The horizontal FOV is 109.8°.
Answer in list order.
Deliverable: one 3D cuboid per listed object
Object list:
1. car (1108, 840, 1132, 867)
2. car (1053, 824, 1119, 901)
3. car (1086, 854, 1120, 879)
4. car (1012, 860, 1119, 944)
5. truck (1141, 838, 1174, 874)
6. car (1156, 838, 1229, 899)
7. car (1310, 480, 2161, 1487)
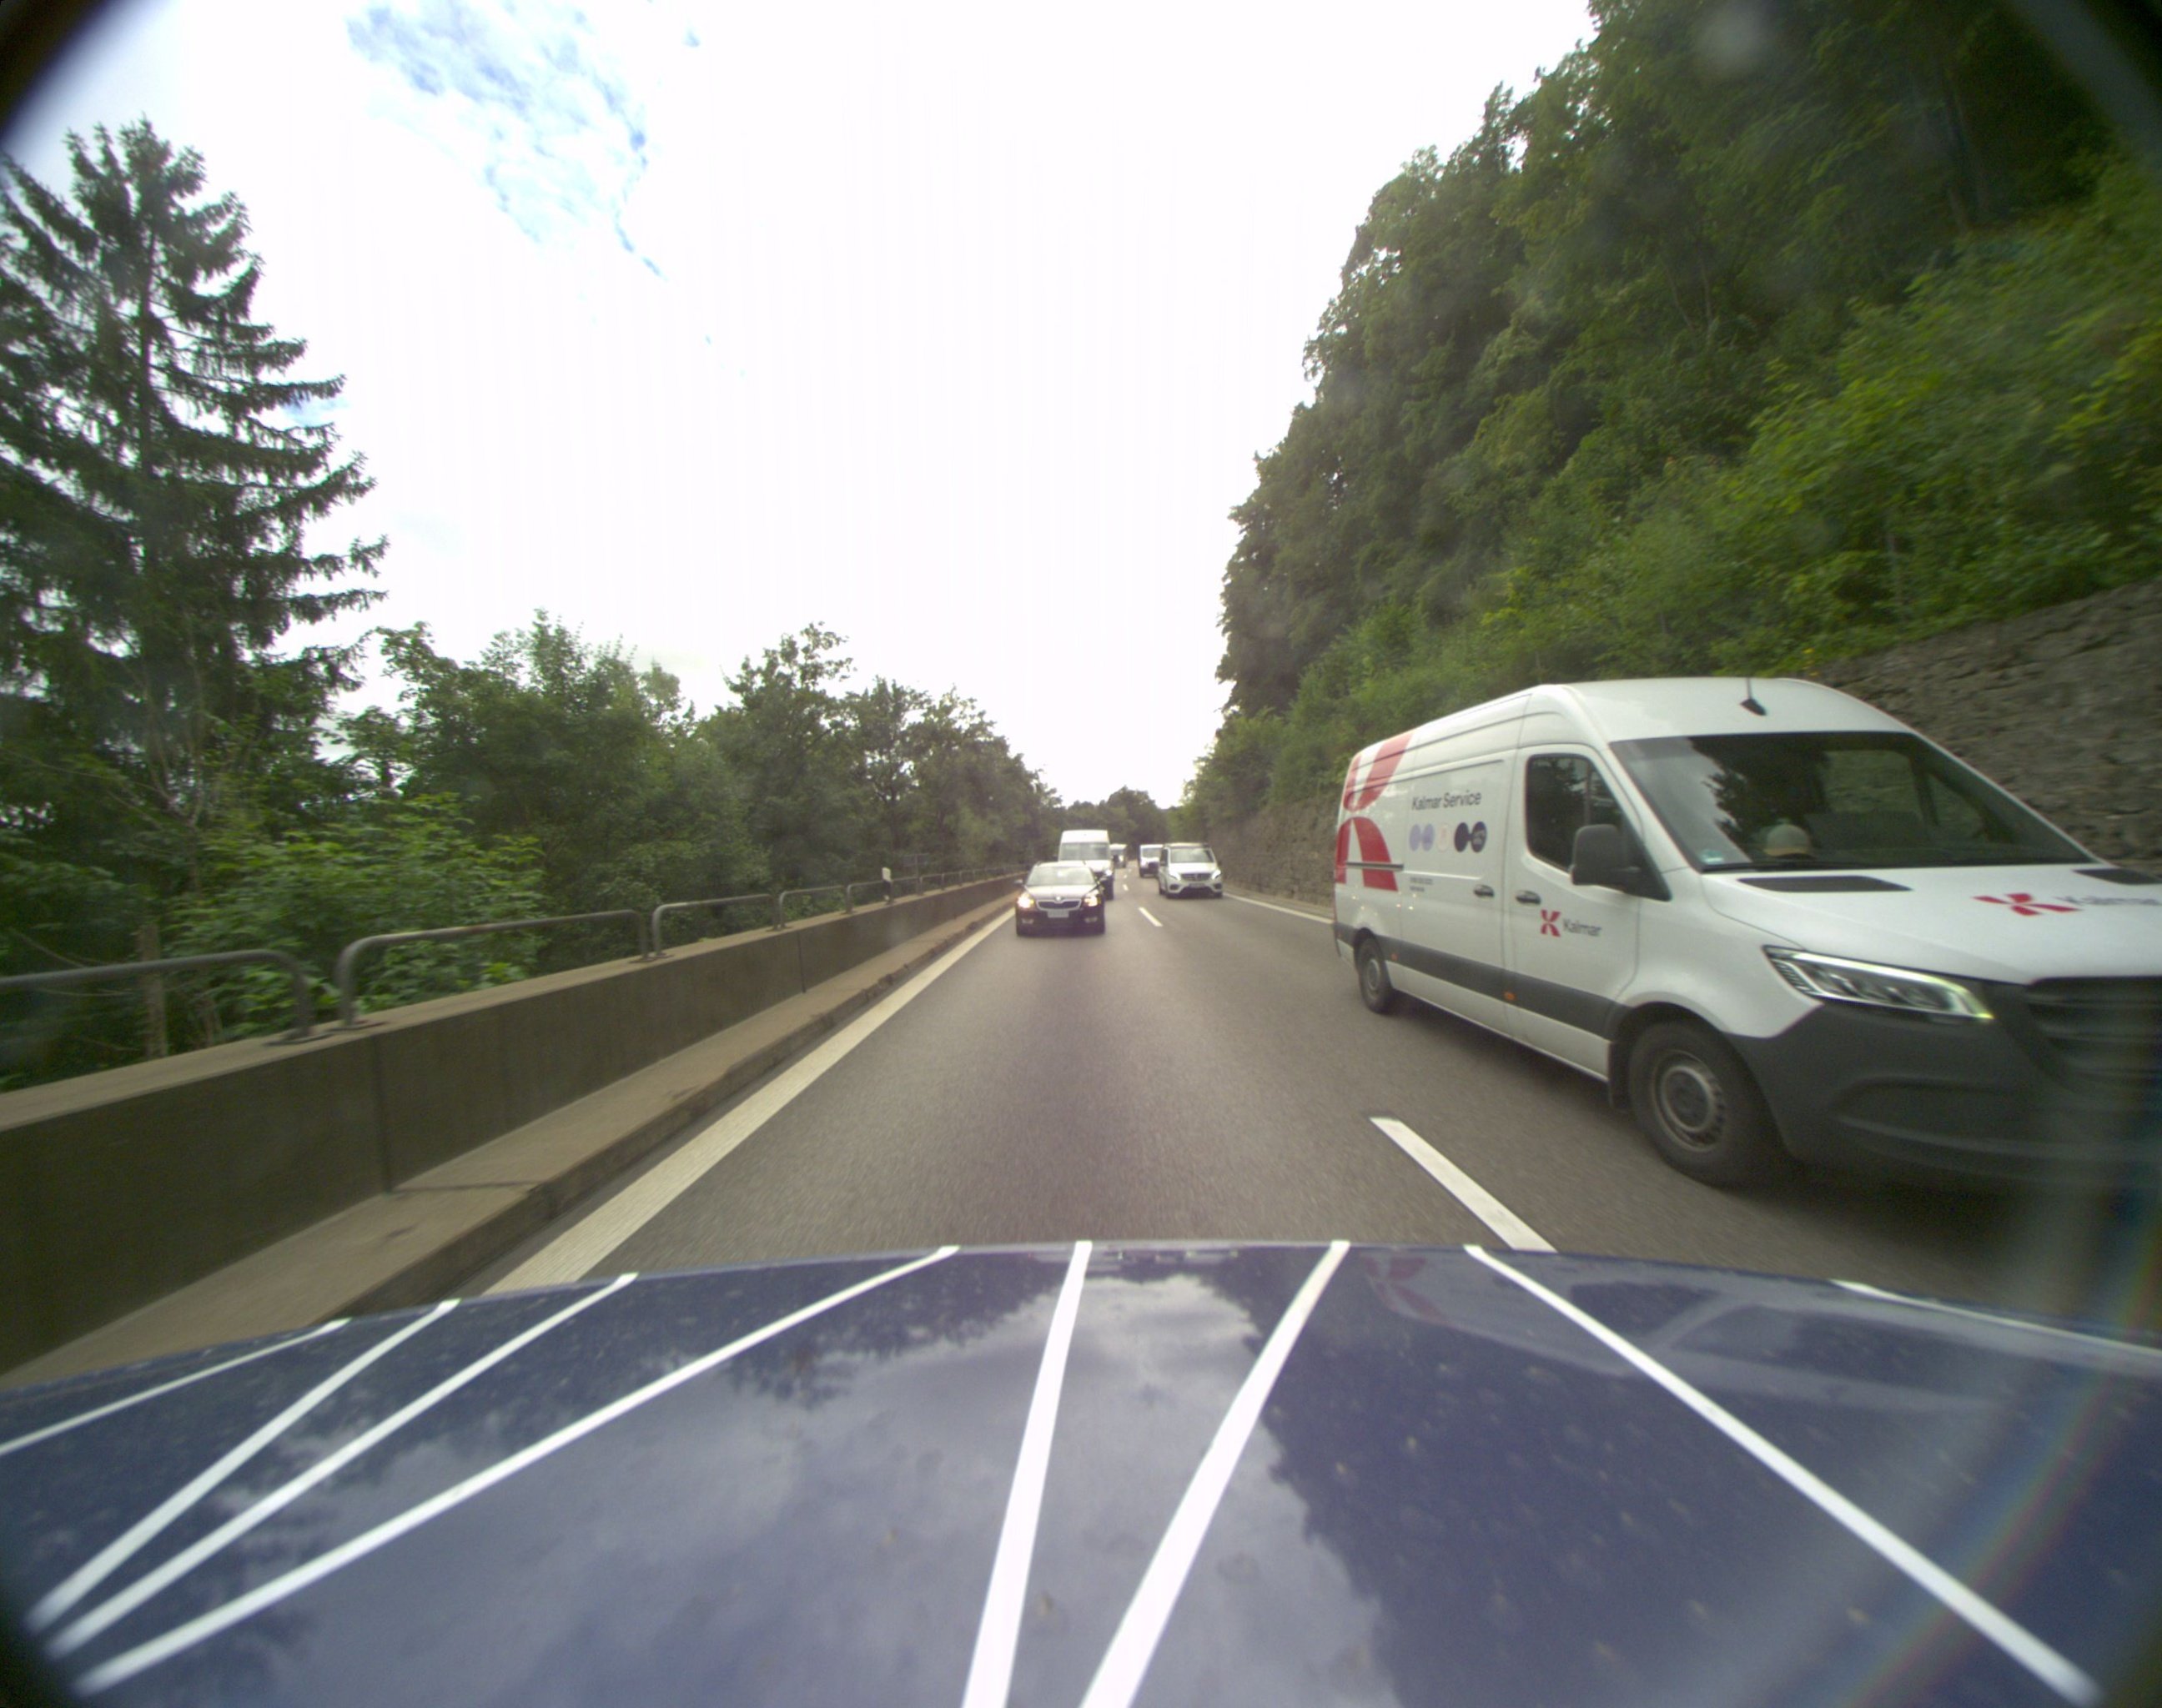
[{"bbox_3d":[4.512,-0.130,86.677,2.276,2.941,7.188,-2,1,6],"label":"car"},{"bbox_3d":[0.306,0.232,28.583,1.998,2.550,5.919,-2,1,4],"label":"car"},{"bbox_3d":[1.417,0.765,47.417,1.846,1.408,4.001,-2,0,5],"label":"car"},{"bbox_3d":[-0.371,0.920,17.069,1.913,1.391,5.695,-4,0,-2],"label":"car"},{"bbox_3d":[5.180,0.099,52.285,1.998,2.266,6.587,-3,0,5],"label":"truck"},{"bbox_3d":[4.012,0.463,28.413,1.998,1.941,6.148,-3,0,3],"label":"car"},{"bbox_3d":[3.497,0.279,5.068,2.031,2.570,6.273,-2,1,0],"label":"car"}]
